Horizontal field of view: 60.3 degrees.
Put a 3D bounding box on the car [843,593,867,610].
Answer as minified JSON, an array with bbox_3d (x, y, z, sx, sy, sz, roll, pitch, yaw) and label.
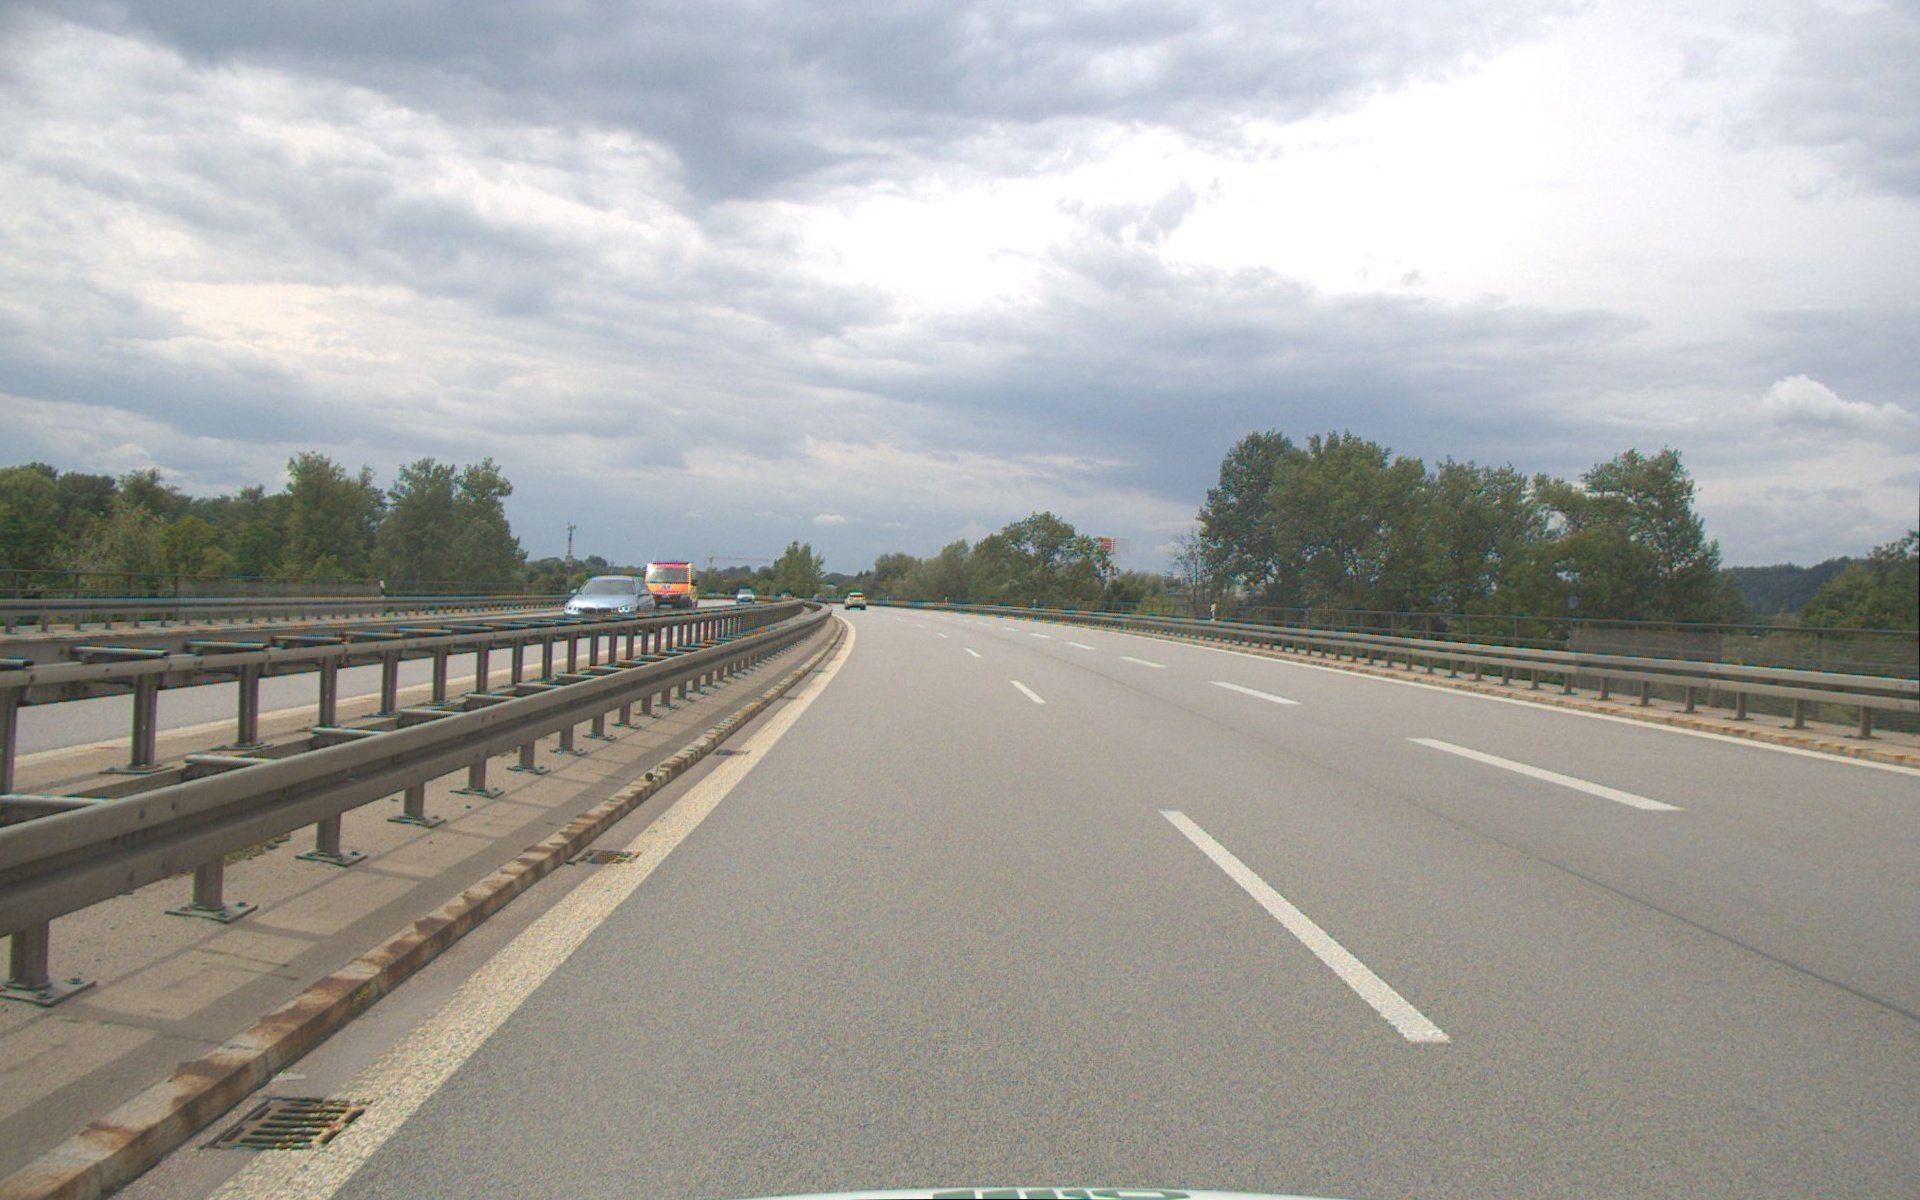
[{"bbox_3d":[-10.450,0.151,164.836,1.868,1.668,4.384,2,0,-11],"label":"car"}]

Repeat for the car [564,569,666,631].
[{"bbox_3d":[-8.635,-0.008,41.703,1.694,1.430,4.249,2,0,-1],"label":"car"}]

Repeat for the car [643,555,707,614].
[{"bbox_3d":[-12.008,-0.639,69.995,1.954,2.333,6.393,2,0,-4],"label":"car"}]

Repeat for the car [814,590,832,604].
[{"bbox_3d":[-17.368,-0.360,209.830,1.858,1.668,4.611,2,0,-10],"label":"car"}]

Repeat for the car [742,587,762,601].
[{"bbox_3d":[-20.652,-0.592,164.278,1.737,1.411,4.383,2,0,-5],"label":"car"}]
